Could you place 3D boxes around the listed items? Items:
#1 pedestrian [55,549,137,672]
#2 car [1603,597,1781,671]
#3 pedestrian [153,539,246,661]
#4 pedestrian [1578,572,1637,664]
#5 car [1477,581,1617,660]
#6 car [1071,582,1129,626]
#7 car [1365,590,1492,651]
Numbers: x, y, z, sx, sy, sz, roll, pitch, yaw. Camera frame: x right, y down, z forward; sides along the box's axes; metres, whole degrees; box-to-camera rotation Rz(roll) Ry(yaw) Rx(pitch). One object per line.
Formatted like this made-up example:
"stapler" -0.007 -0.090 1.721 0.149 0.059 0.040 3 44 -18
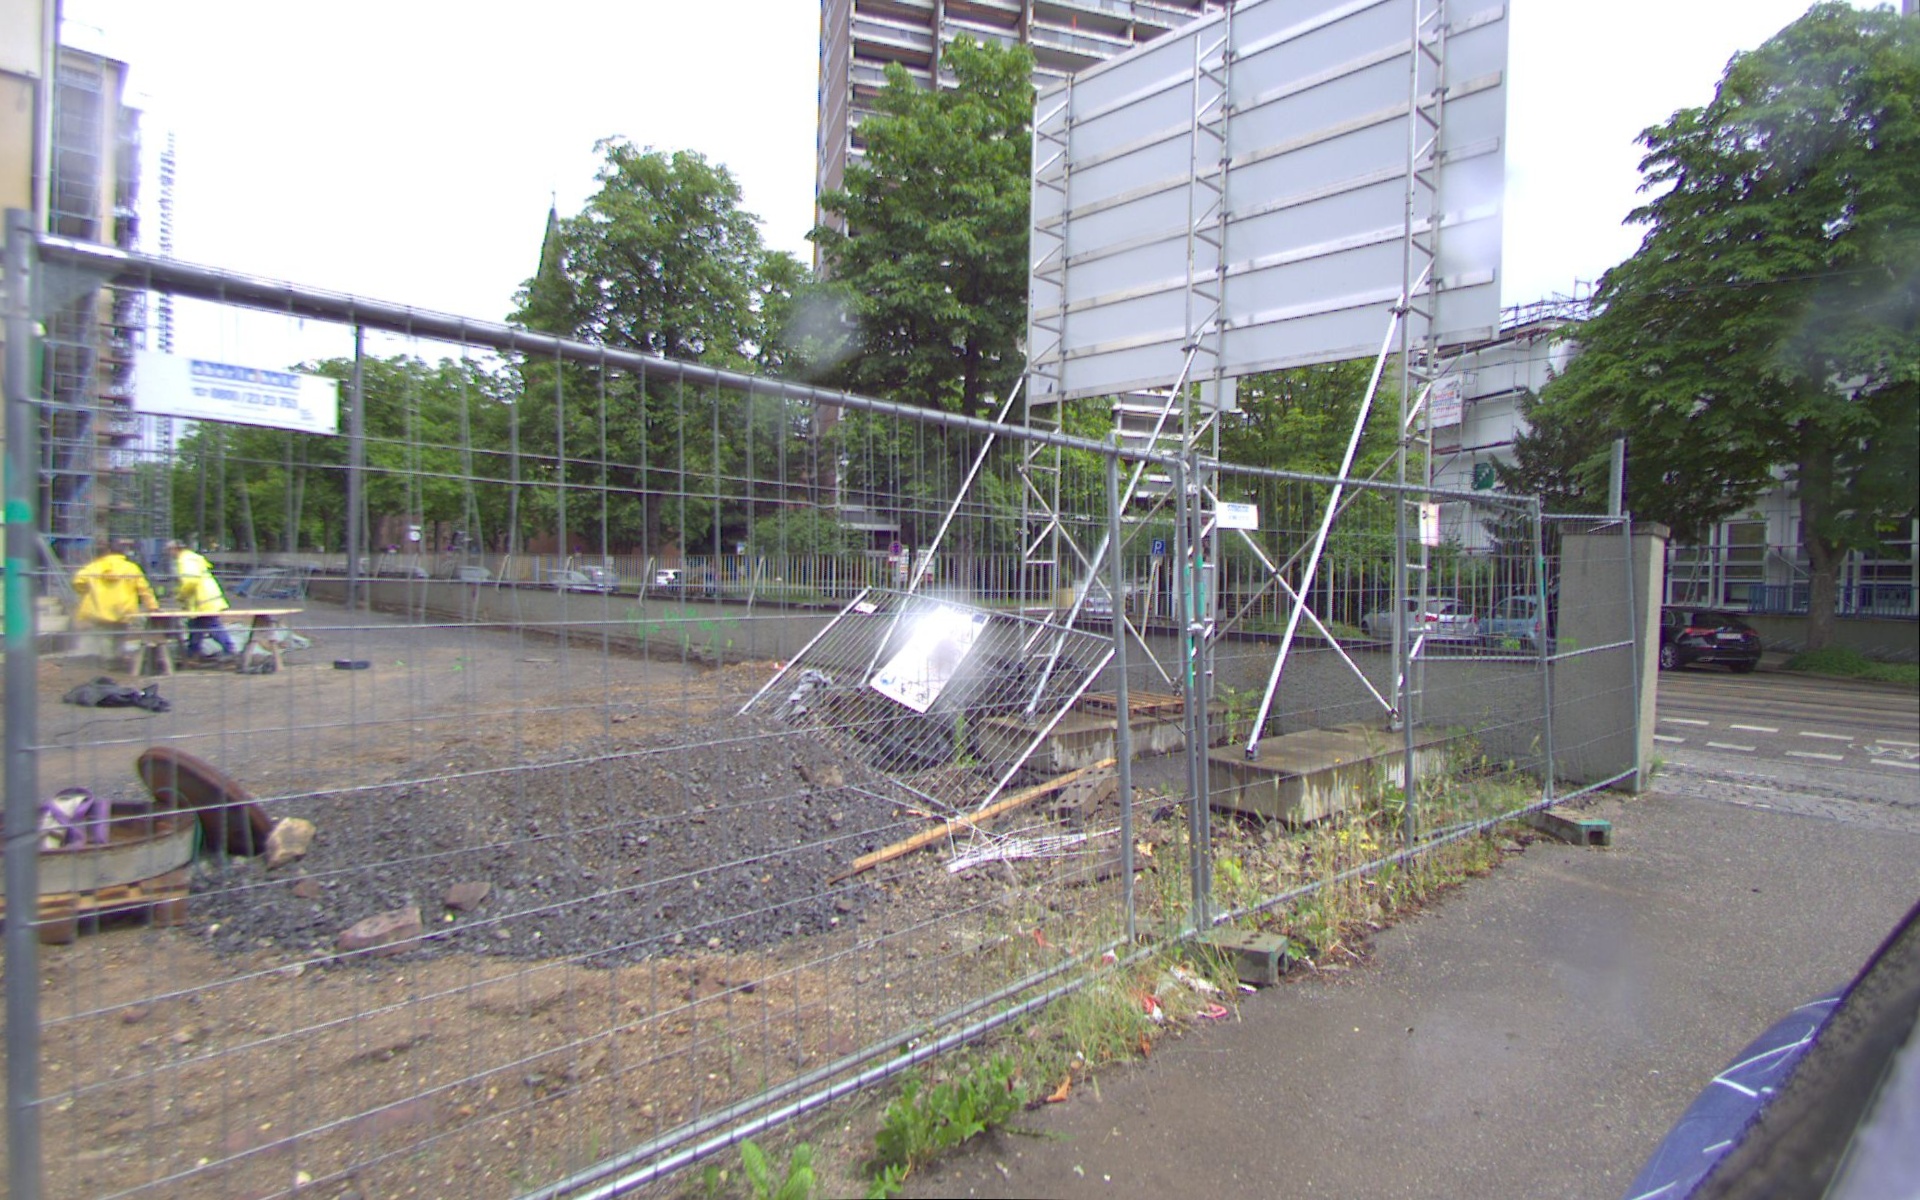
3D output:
"pedestrian" -11.097 0.123 13.003 0.621 1.527 0.641 2 0 34
"car" 16.576 0.710 23.140 1.594 1.445 3.644 2 2 5
"pedestrian" -10.921 -0.010 14.545 0.765 1.694 0.710 2 0 11
"pedestrian" 14.783 0.398 23.100 0.915 2.039 0.859 1 1 -40
"car" 14.646 0.438 25.485 1.594 1.768 3.644 2 1 5
"car" 4.956 0.096 36.283 1.826 1.504 3.995 0 1 5
"car" 12.522 0.492 27.321 1.826 1.504 3.995 0 1 5
